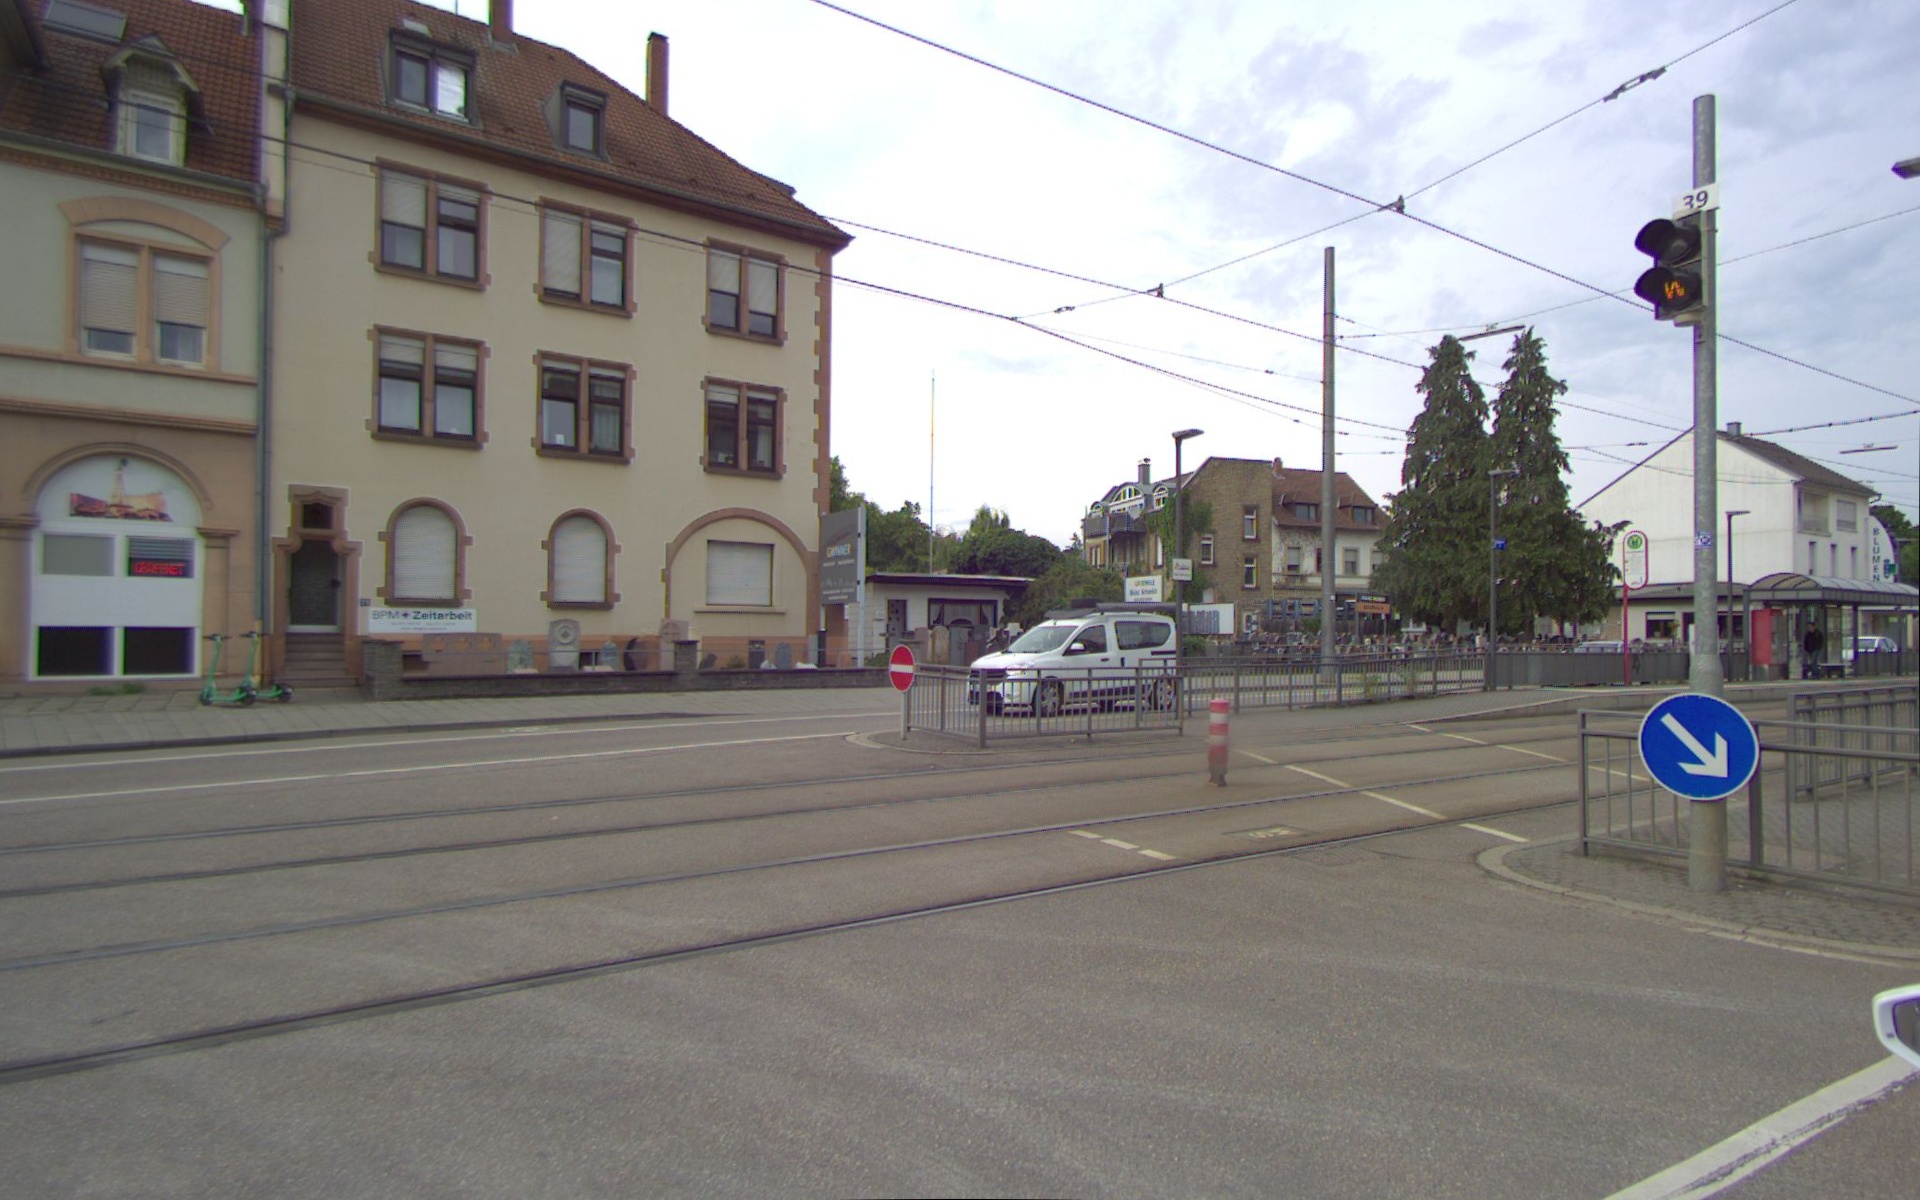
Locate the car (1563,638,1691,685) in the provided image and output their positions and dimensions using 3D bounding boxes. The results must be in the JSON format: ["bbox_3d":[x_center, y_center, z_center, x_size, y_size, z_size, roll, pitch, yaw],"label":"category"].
[{"bbox_3d":[19.816,1.792,29.813,3.790,1.316,1.741,2,-3,-32],"label":"car"}]

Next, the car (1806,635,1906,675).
[{"bbox_3d":[35.476,2.163,39.768,3.955,1.505,1.855,1,-4,-32],"label":"car"}]

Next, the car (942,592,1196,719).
[{"bbox_3d":[2.029,0.978,18.112,4.481,2.015,1.872,2,-3,-36],"label":"car"}]

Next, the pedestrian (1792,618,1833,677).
[{"bbox_3d":[24.770,1.377,29.200,0.683,1.686,0.618,1,-1,6],"label":"pedestrian"}]

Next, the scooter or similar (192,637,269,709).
[{"bbox_3d":[-12.004,1.191,16.534,1.156,1.116,0.527,1,-1,26],"label":"scooter or similar"}]

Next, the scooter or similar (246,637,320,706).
[{"bbox_3d":[-11.627,1.213,17.245,1.156,1.116,0.527,1,-1,26],"label":"scooter or similar"}]
